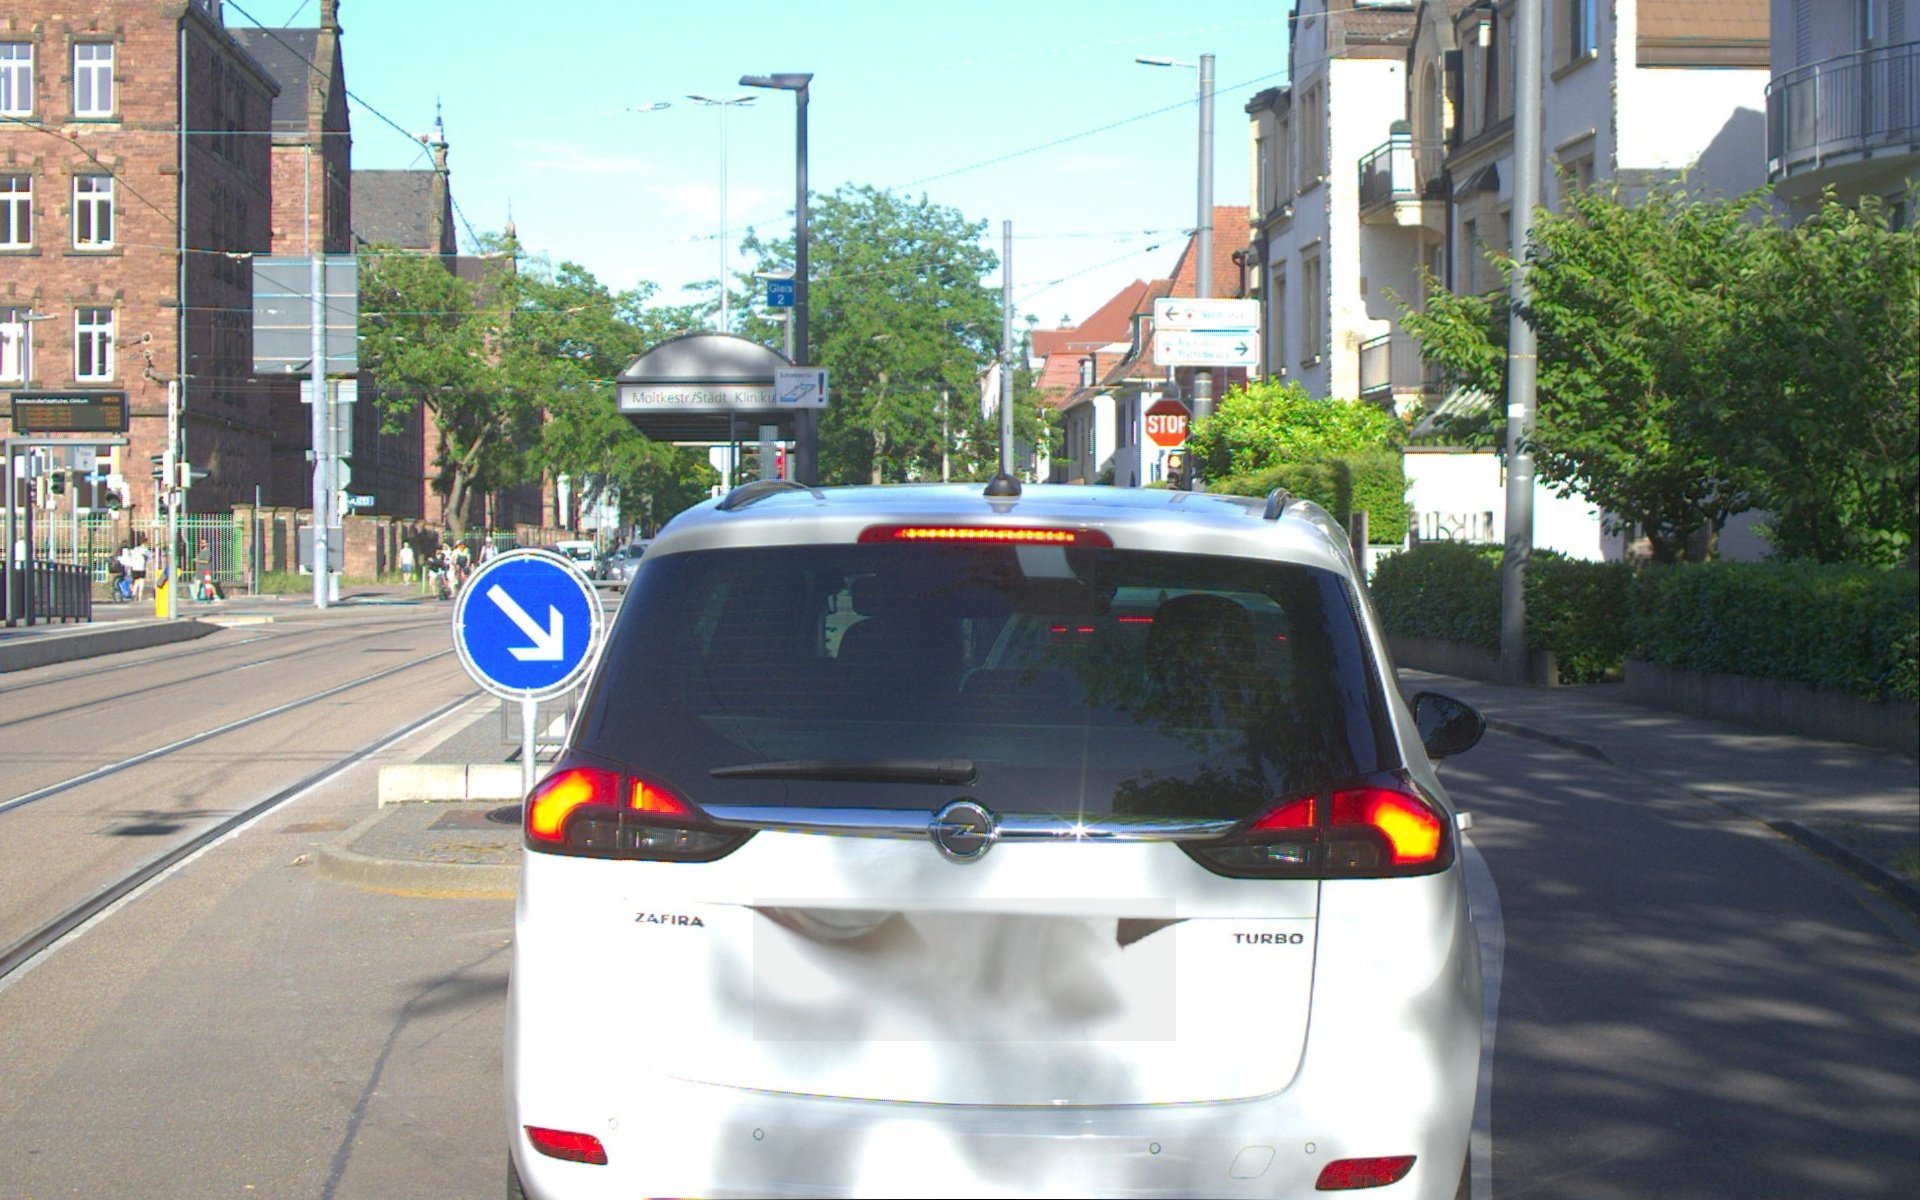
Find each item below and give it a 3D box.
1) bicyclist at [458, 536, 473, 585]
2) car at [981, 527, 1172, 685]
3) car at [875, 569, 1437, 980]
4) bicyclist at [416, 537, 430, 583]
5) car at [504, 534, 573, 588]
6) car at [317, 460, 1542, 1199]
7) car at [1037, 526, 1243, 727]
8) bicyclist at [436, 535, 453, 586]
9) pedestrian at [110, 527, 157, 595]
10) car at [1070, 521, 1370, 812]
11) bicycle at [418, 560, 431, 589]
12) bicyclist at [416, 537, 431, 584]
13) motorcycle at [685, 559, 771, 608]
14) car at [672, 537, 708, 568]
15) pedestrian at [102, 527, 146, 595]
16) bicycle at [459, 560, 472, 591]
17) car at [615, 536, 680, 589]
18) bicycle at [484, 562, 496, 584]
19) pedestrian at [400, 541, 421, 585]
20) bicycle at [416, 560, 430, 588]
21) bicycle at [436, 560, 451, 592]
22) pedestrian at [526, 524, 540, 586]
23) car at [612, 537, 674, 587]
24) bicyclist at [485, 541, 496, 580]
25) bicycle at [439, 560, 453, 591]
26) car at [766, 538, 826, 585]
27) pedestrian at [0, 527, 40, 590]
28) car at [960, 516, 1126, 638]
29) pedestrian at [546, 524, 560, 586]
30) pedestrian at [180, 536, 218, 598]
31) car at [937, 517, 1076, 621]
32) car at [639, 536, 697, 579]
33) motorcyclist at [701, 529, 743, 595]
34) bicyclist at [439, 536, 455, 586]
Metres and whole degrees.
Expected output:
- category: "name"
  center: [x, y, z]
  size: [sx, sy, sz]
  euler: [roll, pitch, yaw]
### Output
- category: "bicyclist"
  center: [-15.689, -1.245, 109.153]
  size: [0.444, 1.548, 0.496]
  euler: [0, 1, -4]
- category: "car"
  center: [1.173, 0.024, 36.182]
  size: [1.830, 1.574, 4.010]
  euler: [0, 1, -1]
- category: "car"
  center: [0.742, 0.589, 13.985]
  size: [1.953, 1.392, 4.000]
  euler: [0, 1, 2]
- category: "bicyclist"
  center: [-17.982, -1.338, 115.099]
  size: [0.444, 1.548, 0.496]
  euler: [0, 1, -4]
- category: "car"
  center: [-13.117, -1.226, 107.090]
  size: [1.993, 1.623, 4.001]
  euler: [0, 1, -5]
- category: "car"
  center: [0.133, 0.582, 7.604]
  size: [1.994, 1.639, 3.992]
  euler: [1, 1, 6]
- category: "car"
  center: [1.491, 0.178, 29.258]
  size: [1.637, 1.595, 3.854]
  euler: [0, 1, 2]
- category: "bicyclist"
  center: [-15.475, -1.185, 103.286]
  size: [0.444, 1.548, 0.743]
  euler: [0, 1, -4]
- category: "pedestrian"
  center: [-20.525, -0.968, 85.406]
  size: [0.895, 1.678, 1.029]
  euler: [1, 0, -1]
- category: "car"
  center: [1.489, 0.330, 20.830]
  size: [1.637, 1.595, 3.854]
  euler: [0, 1, 2]
- category: "bicycle"
  center: [-17.648, -0.849, 113.313]
  size: [0.344, 0.946, 0.997]
  euler: [1, 0, -4]
- category: "bicyclist"
  center: [-17.665, -1.315, 113.264]
  size: [0.444, 1.548, 0.496]
  euler: [0, 1, -4]
- category: "motorcycle"
  center: [-5.704, -0.412, 84.509]
  size: [2.069, 1.194, 0.613]
  euler: [0, 1, -34]
- category: "car"
  center: [-16.600, -2.937, 211.291]
  size: [1.993, 1.857, 4.000]
  euler: [1, 1, -2]
- category: "pedestrian"
  center: [-21.134, -0.985, 86.927]
  size: [0.843, 1.686, 1.029]
  euler: [1, 0, -1]
- category: "bicycle"
  center: [-15.698, -0.781, 109.167]
  size: [0.344, 0.946, 0.997]
  euler: [1, 0, -4]
- category: "car"
  center: [-9.737, -1.190, 107.313]
  size: [1.993, 1.623, 4.001]
  euler: [0, 1, -5]
- category: "bicycle"
  center: [-15.621, -0.898, 114.269]
  size: [0.344, 0.722, 0.997]
  euler: [1, 1, -4]
- category: "pedestrian"
  center: [-21.504, -1.446, 134.582]
  size: [0.734, 1.708, 0.754]
  euler: [1, 0, -6]
- category: "bicycle"
  center: [-17.987, -0.872, 115.142]
  size: [0.344, 0.946, 0.997]
  euler: [1, 0, -4]
- category: "bicycle"
  center: [-15.484, -0.716, 103.085]
  size: [0.344, 0.946, 1.160]
  euler: [1, 0, -4]
- category: "pedestrian"
  center: [-13.907, -1.478, 111.944]
  size: [0.444, 2.007, 0.496]
  euler: [0, 1, -4]
- category: "car"
  center: [-10.534, -1.273, 114.419]
  size: [1.993, 1.623, 4.001]
  euler: [0, 1, -5]
- category: "bicyclist"
  center: [-15.608, -1.326, 114.256]
  size: [0.359, 1.299, 0.398]
  euler: [0, 1, -4]
- category: "bicycle"
  center: [-15.930, -0.758, 106.618]
  size: [0.344, 0.946, 0.997]
  euler: [1, 0, -4]
- category: "car"
  center: [-5.731, -1.354, 119.752]
  size: [1.993, 1.623, 4.001]
  euler: [0, 1, -4]
- category: "pedestrian"
  center: [-23.571, -1.039, 86.127]
  size: [0.802, 1.583, 0.935]
  euler: [1, 0, -3]
- category: "car"
  center: [1.017, -0.319, 44.302]
  size: [1.993, 1.497, 4.000]
  euler: [0, 1, -1]
- category: "pedestrian"
  center: [-13.297, -1.473, 112.255]
  size: [0.444, 2.007, 0.496]
  euler: [0, 1, -4]
- category: "pedestrian"
  center: [-21.204, -0.914, 95.786]
  size: [0.735, 1.708, 0.705]
  euler: [1, 0, 22]
- category: "car"
  center: [0.664, -0.489, 51.762]
  size: [1.993, 1.497, 4.000]
  euler: [0, 1, -1]
- category: "car"
  center: [-11.081, -1.617, 130.656]
  size: [1.993, 1.623, 4.001]
  euler: [0, 1, -2]
- category: "motorcyclist"
  center: [-5.843, -0.931, 84.405]
  size: [0.842, 1.616, 0.615]
  euler: [0, 1, -34]
- category: "bicyclist"
  center: [-15.893, -1.222, 106.568]
  size: [0.444, 1.548, 0.496]
  euler: [0, 1, -4]
